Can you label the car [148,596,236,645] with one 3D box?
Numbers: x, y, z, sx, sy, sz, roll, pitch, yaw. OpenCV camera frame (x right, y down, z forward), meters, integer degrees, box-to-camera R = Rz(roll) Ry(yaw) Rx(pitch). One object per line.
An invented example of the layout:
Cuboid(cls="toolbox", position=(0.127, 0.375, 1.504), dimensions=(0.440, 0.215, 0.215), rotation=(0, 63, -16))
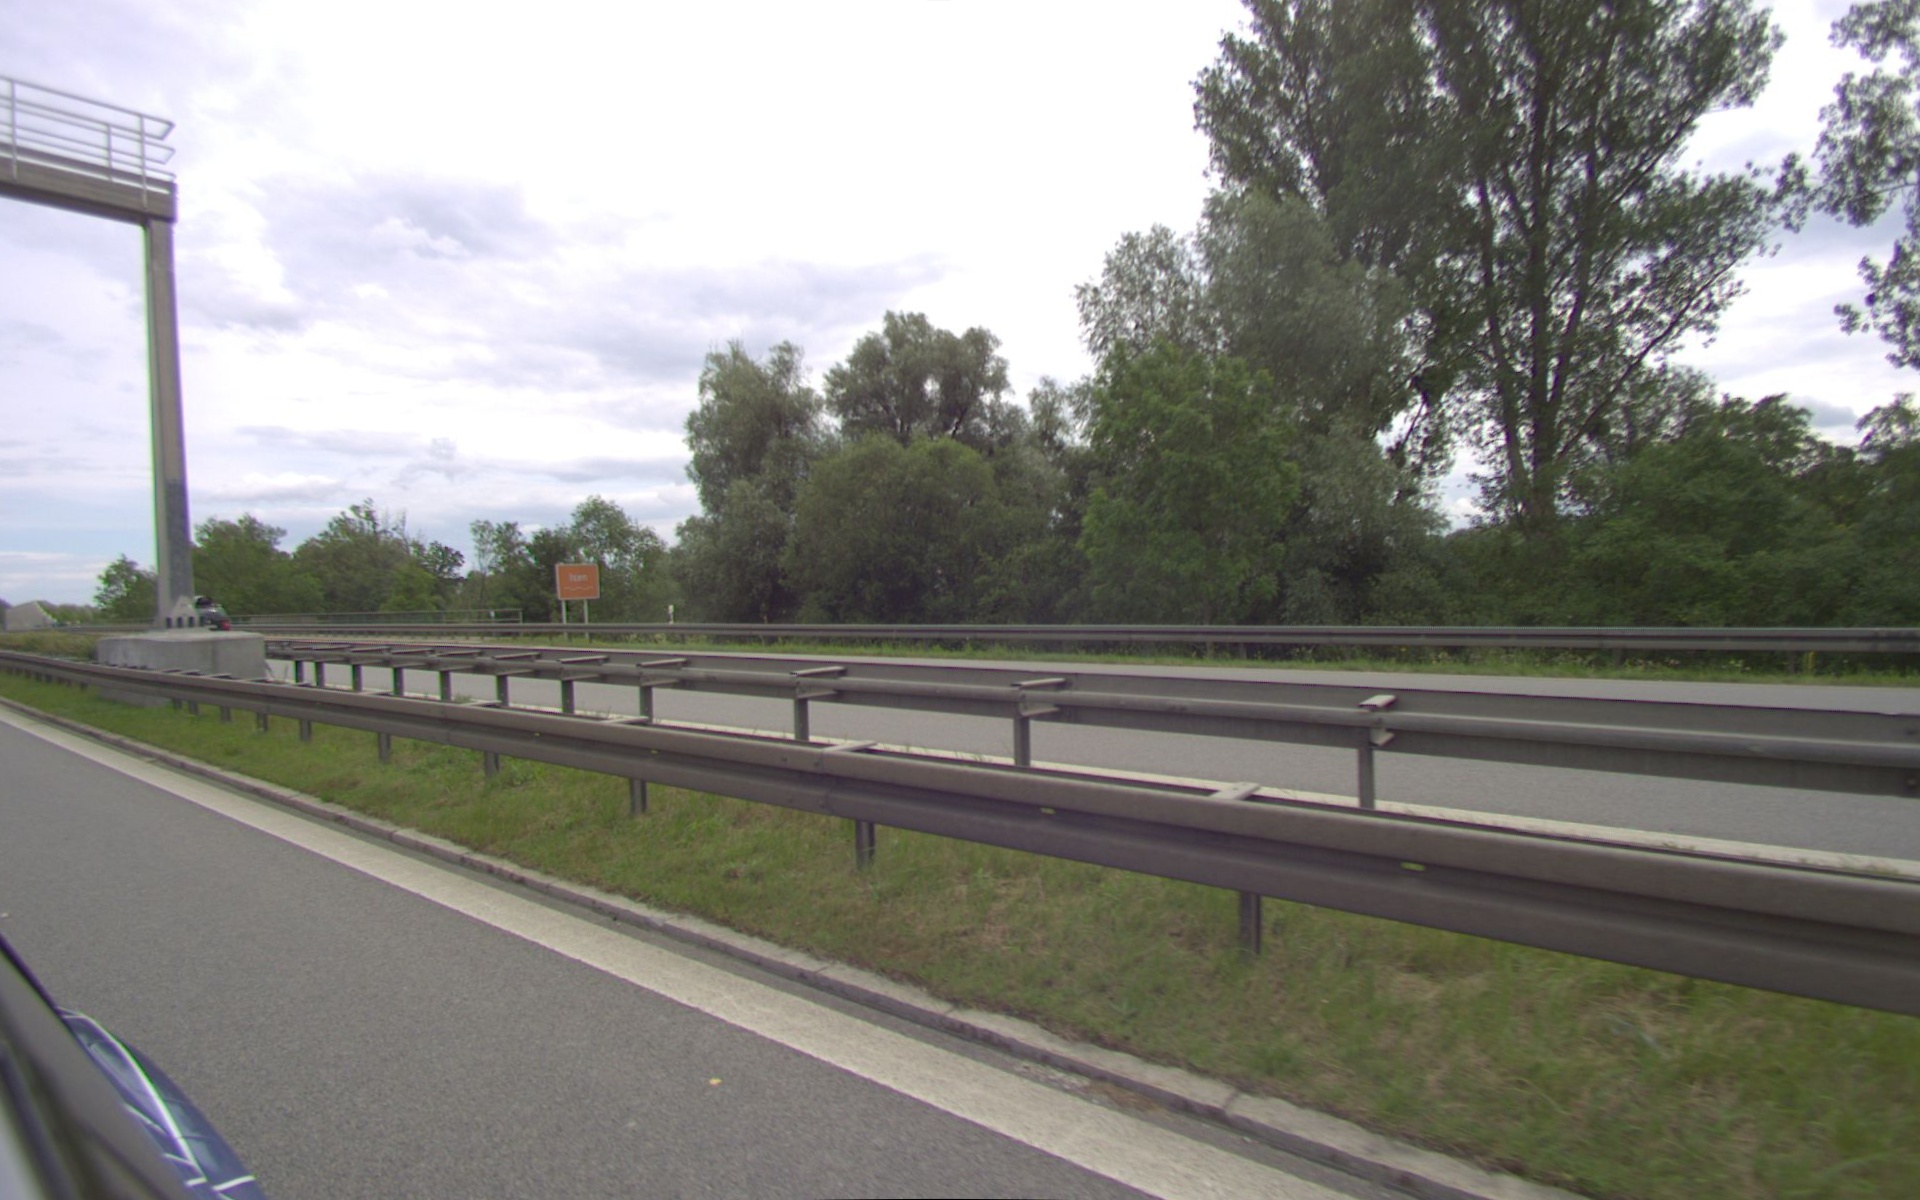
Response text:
Cuboid(cls="car", position=(-33.573, 0.888, 44.203), dimensions=(4.739, 2.017, 1.974), rotation=(-1, 0, 39))
